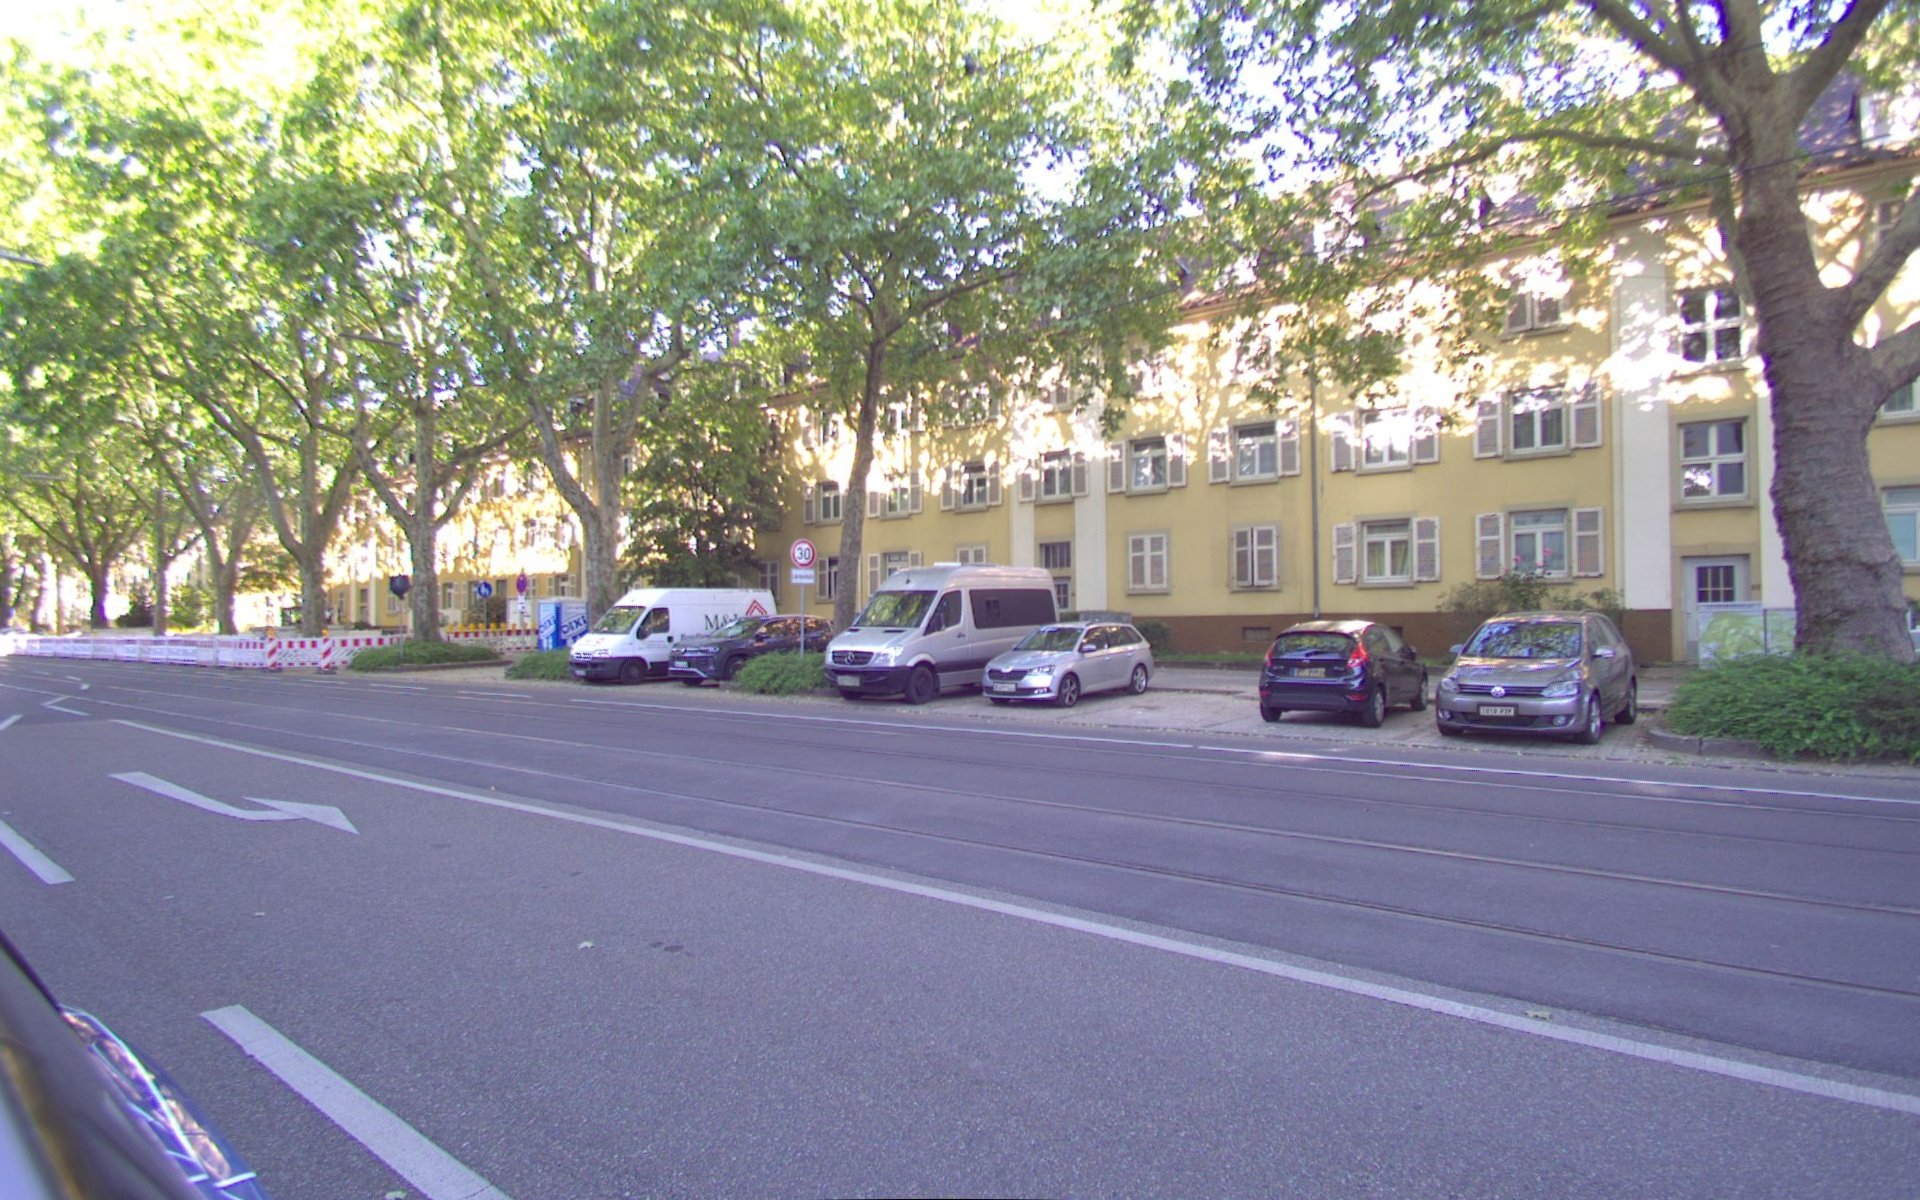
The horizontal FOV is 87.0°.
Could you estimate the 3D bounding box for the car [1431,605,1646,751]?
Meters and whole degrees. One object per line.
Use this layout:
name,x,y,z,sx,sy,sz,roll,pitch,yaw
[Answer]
car,7.740,0.898,13.375,1.672,1.592,3.928,-2,-1,42

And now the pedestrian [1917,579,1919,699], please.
pedestrian,13.630,0.541,13.593,0.952,1.673,0.767,-1,0,30

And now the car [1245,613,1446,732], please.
car,5.963,1.000,15.426,1.671,1.509,3.756,-2,-1,41

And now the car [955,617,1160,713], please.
car,1.909,1.120,18.843,1.773,1.509,4.031,-2,-1,41

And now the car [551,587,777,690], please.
car,-7.564,0.963,26.382,2.222,2.394,5.336,-2,-2,40

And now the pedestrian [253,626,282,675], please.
pedestrian,-25.222,1.845,36.852,0.577,1.759,0.650,-1,0,11

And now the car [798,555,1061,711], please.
car,-0.430,0.608,20.455,2.221,2.702,5.596,-2,-1,38

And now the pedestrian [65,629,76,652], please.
pedestrian,-75.033,3.444,85.384,0.722,1.900,0.666,-1,0,-42

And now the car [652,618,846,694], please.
car,-4.982,1.275,24.456,1.772,1.664,4.570,-2,-2,38
